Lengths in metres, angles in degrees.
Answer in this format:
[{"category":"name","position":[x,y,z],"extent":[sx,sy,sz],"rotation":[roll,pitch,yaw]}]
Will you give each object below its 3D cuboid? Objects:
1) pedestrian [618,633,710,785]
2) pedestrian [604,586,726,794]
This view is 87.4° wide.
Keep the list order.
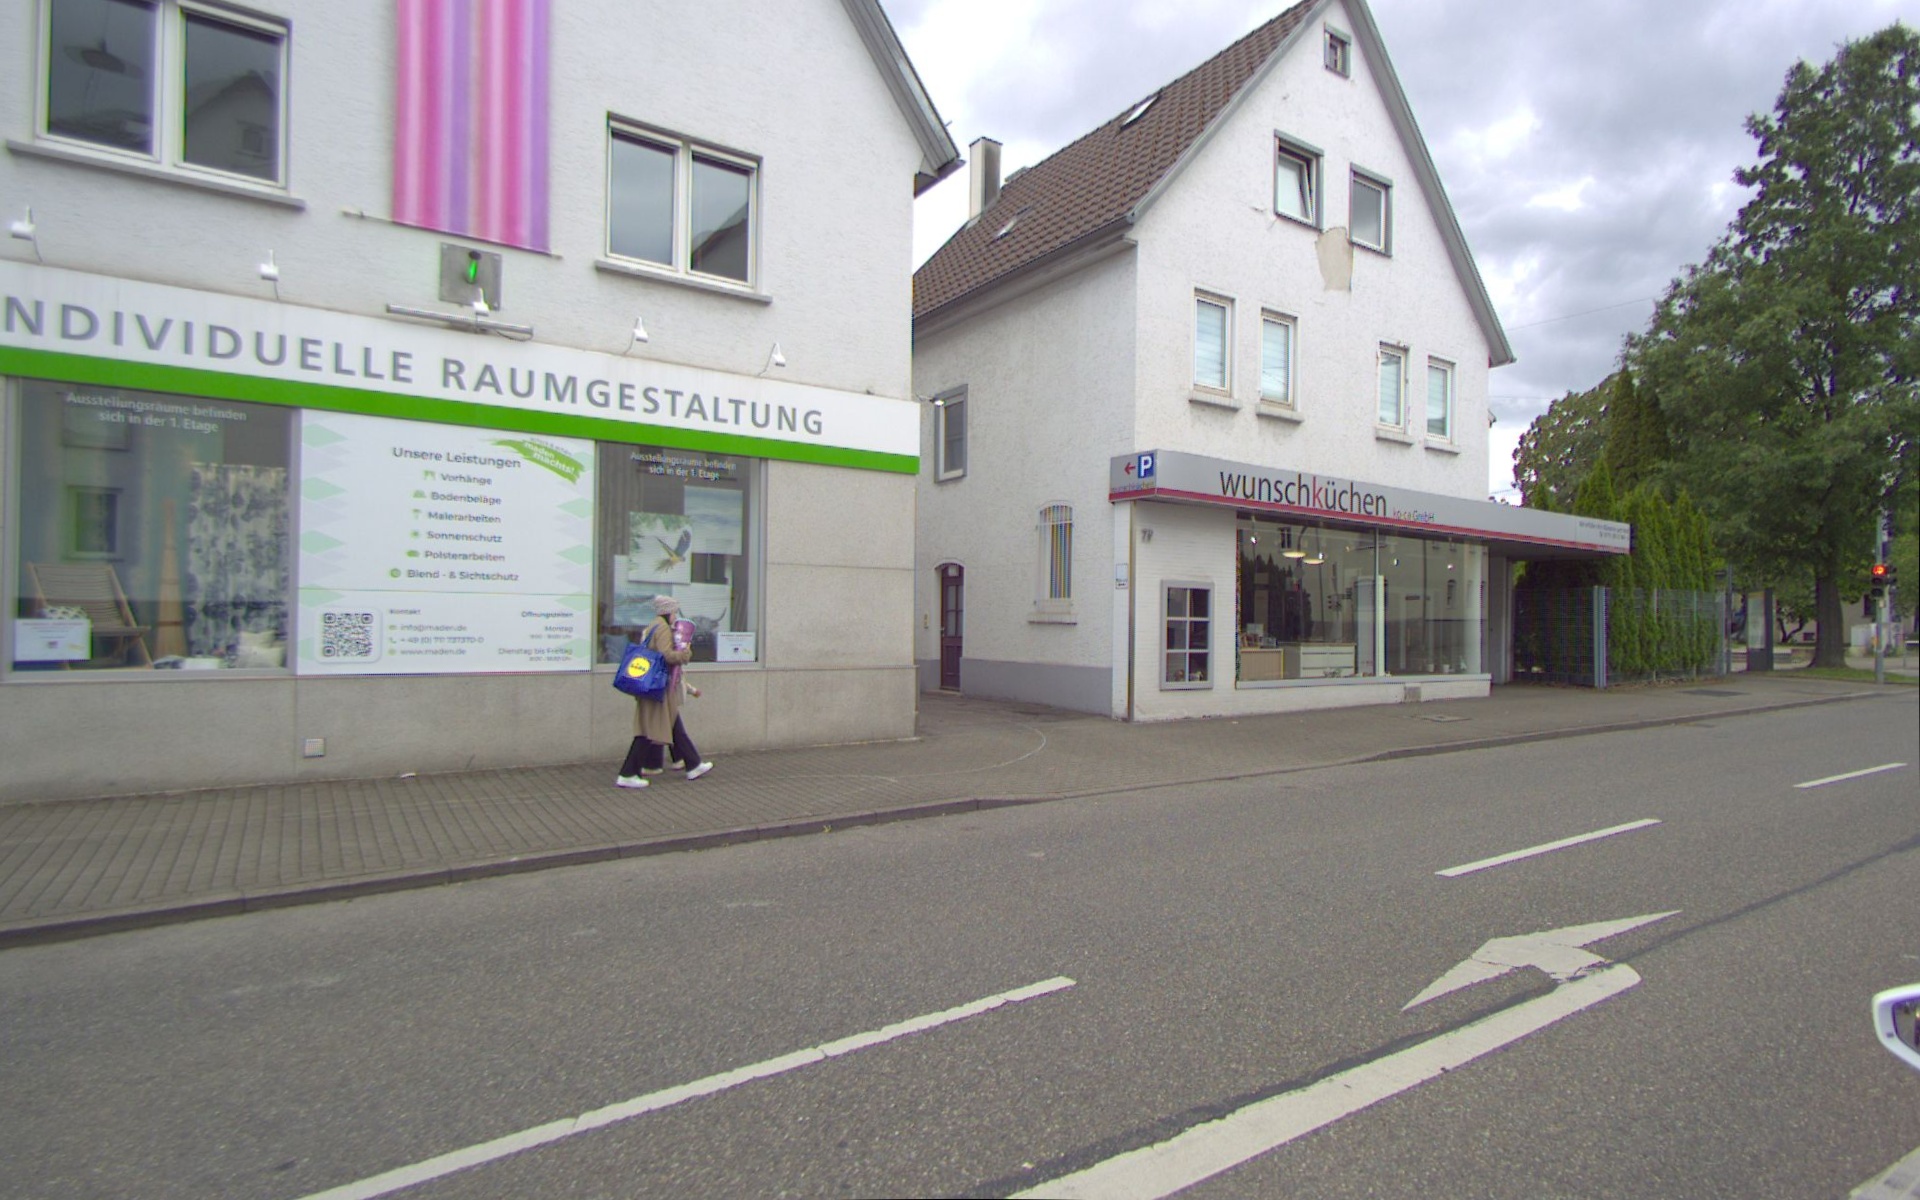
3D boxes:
[{"category":"pedestrian","position":[-2.717,0.966,9.209],"extent":[0.648,1.297,0.596],"rotation":[1,1,-32]},{"category":"pedestrian","position":[-2.518,0.720,8.535],"extent":[0.784,1.638,0.747],"rotation":[1,2,-32]}]
